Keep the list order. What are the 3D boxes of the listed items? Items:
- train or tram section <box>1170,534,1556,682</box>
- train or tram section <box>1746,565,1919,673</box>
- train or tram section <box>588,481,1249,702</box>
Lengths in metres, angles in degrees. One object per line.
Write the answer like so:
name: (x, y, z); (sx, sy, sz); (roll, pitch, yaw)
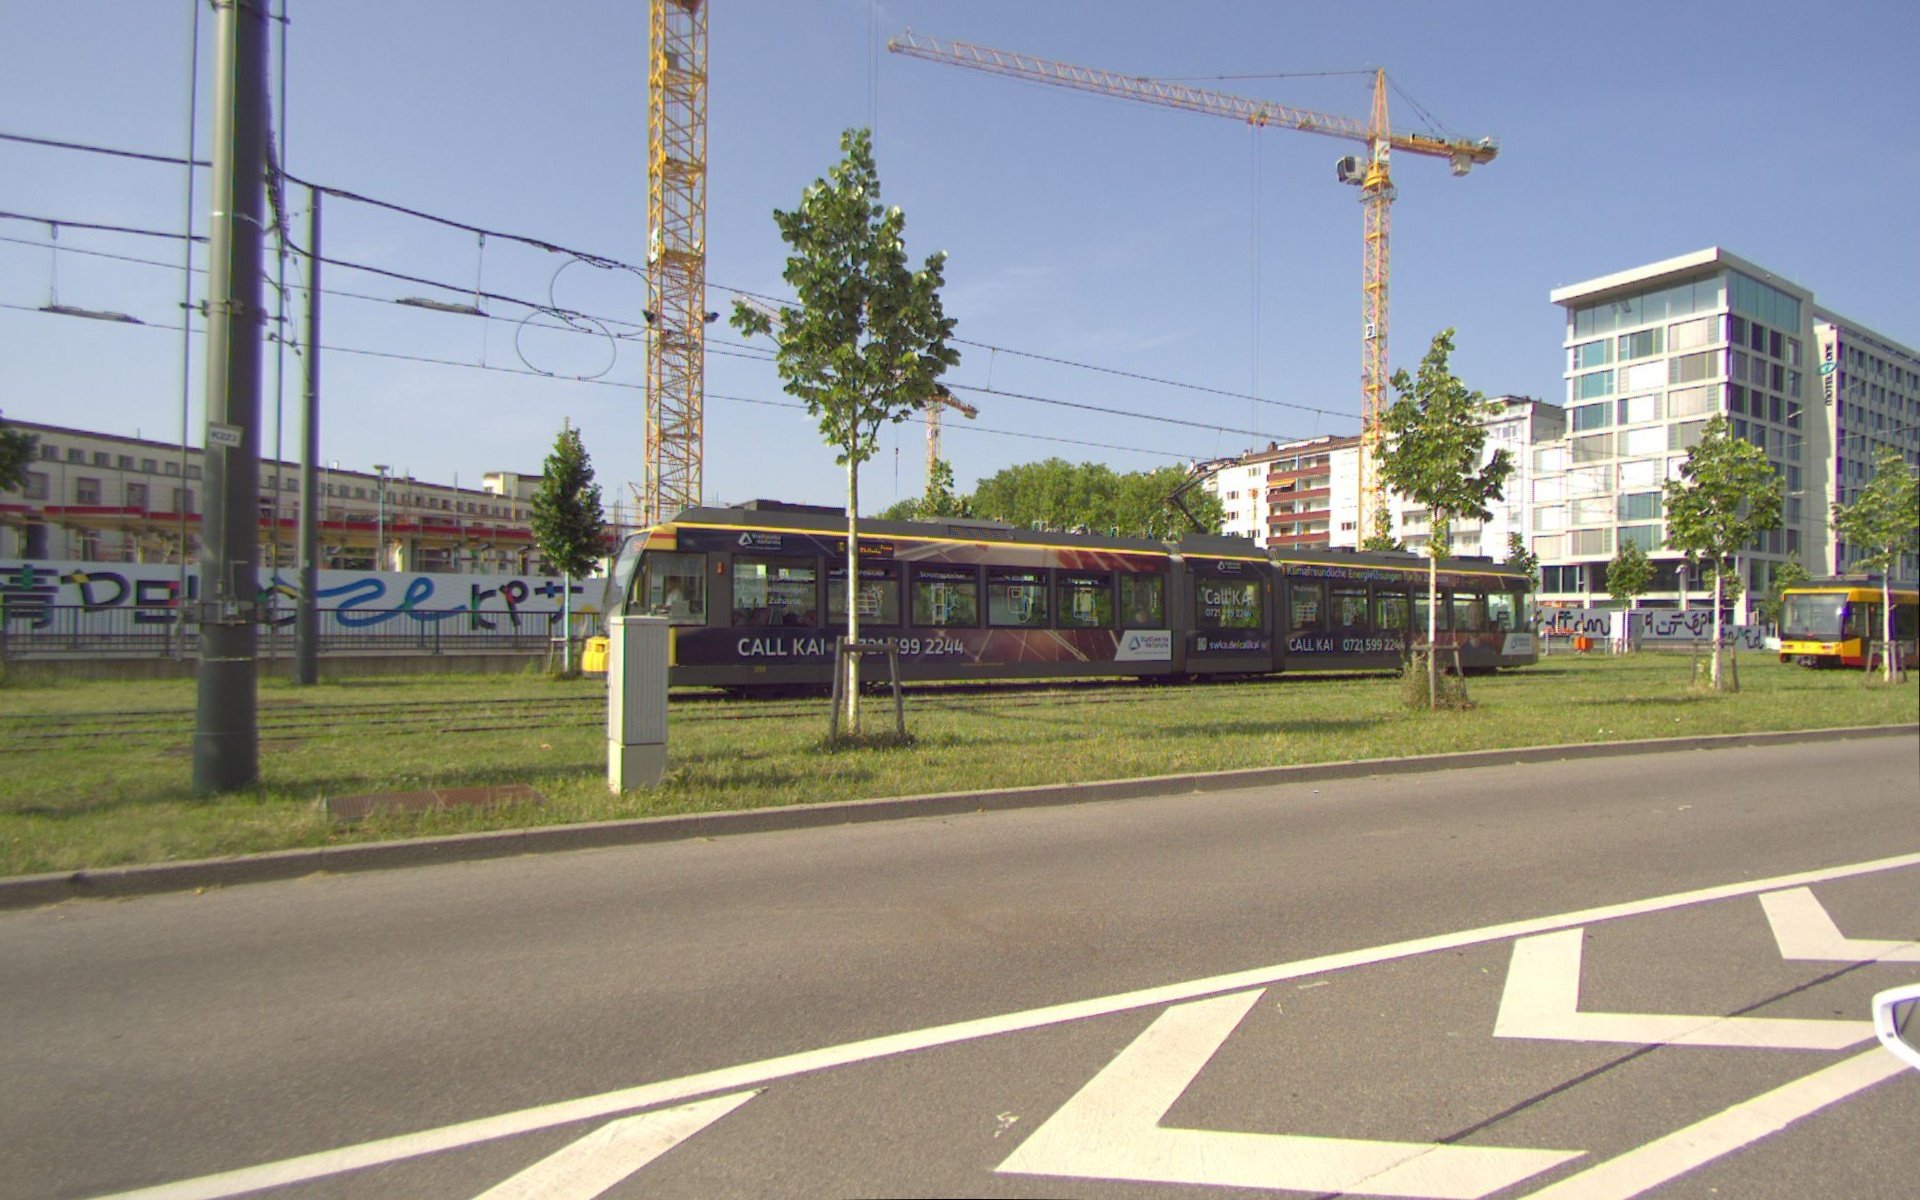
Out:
train or tram section: (12.048, 0.295, 28.940); (13.453, 3.584, 2.867); (1, -1, -31)
train or tram section: (37.842, 0.837, 40.559); (17.917, 3.725, 2.893); (1, 0, -29)
train or tram section: (0.032, -0.024, 21.475); (14.735, 3.584, 2.844); (1, -1, -33)
